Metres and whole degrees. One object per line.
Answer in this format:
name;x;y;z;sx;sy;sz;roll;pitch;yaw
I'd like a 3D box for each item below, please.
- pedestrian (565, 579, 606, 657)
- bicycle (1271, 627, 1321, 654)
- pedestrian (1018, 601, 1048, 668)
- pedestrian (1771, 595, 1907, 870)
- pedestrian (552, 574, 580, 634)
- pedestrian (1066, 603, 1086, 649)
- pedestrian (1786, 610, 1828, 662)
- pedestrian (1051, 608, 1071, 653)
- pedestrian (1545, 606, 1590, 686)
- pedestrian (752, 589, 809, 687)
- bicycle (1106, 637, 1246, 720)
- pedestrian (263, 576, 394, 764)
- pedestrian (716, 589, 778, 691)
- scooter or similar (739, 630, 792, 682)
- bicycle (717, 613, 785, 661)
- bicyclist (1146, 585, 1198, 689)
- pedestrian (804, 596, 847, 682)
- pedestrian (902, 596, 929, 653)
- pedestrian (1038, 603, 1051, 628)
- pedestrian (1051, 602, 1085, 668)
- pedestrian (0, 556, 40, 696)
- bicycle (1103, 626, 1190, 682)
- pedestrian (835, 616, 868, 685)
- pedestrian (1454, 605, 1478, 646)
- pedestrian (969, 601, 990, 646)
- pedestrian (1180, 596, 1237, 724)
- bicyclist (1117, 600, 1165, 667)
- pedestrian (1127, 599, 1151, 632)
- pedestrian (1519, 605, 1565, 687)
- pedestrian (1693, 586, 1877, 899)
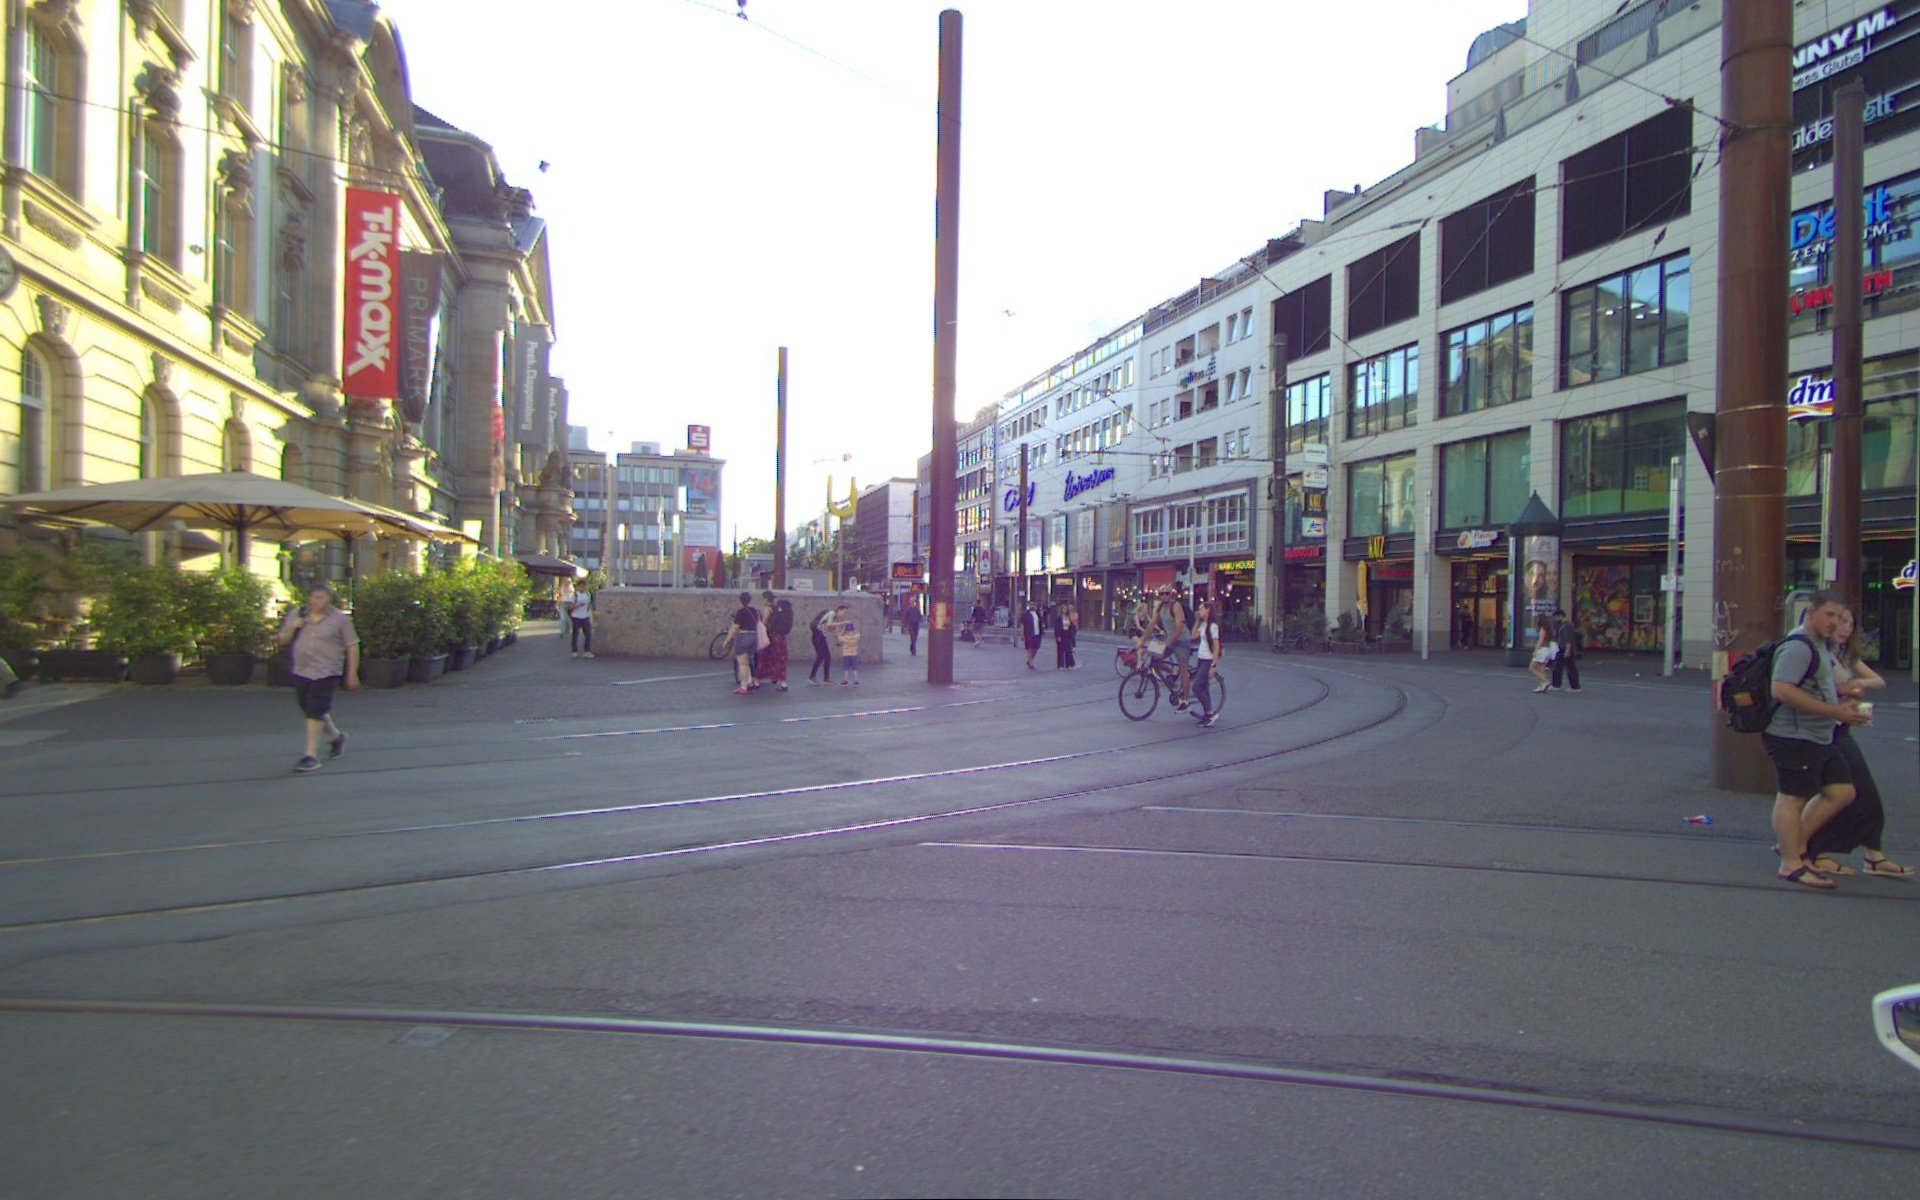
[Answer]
pedestrian;-8.426;0.400;22.611;0.713;1.728;0.494;1;1;-36
bicycle;13.654;1.655;40.903;1.888;0.999;0.451;2;1;18
pedestrian;1.869;0.884;25.687;0.639;1.696;0.529;1;0;-11
pedestrian;5.468;0.781;6.255;0.445;1.614;0.564;1;0;-40
pedestrian;-11.478;0.121;29.245;0.710;1.728;0.496;2;1;-24
pedestrian;4.281;0.955;37.050;0.574;1.658;0.685;1;-1;17
pedestrian;25.765;1.089;30.559;0.776;1.547;0.574;1;1;-6
pedestrian;3.785;1.146;37.634;0.574;1.658;0.685;1;-1;17
pedestrian;13.081;0.979;21.620;0.640;1.696;0.528;1;0;-17
pedestrian;-3.085;0.639;17.257;0.662;1.636;0.762;1;0;-43
bicycle;3.105;1.101;14.388;1.995;1.113;0.571;1;1;-25
pedestrian;-5.831;0.622;9.325;0.790;1.650;0.832;1;0;-14
pedestrian;-3.542;0.651;16.682;0.688;1.636;0.813;1;0;-43
scooter or similar;-3.658;1.039;18.800;0.876;0.916;1.093;1;0;-16
bicycle;-5.017;0.895;24.156;1.554;1.100;0.449;1;1;-16
bicyclist;3.019;0.516;14.332;0.556;1.446;0.419;1;1;-25
pedestrian;-2.541;0.724;18.946;0.644;1.594;0.476;1;0;-34
pedestrian;-1.355;0.726;30.395;0.640;1.696;0.714;1;0;-17
pedestrian;5.604;1.006;66.461;0.674;1.658;0.583;1;-1;-17
pedestrian;2.799;0.905;26.091;0.741;1.696;0.529;1;0;-11
pedestrian;-11.841;0.298;12.068;0.957;1.650;0.688;1;0;-19
bicycle;4.247;1.212;23.014;0.696;1.130;1.894;1;1;-43
pedestrian;-2.021;0.929;18.663;0.479;1.259;0.409;1;0;-30
pedestrian;21.762;1.093;43.241;0.565;1.702;0.673;1;1;-17
pedestrian;0.731;0.898;38.244;0.640;1.696;0.528;1;0;-17
pedestrian;3.355;0.795;13.592;0.520;1.696;0.649;1;0;-9
bicyclist;4.166;0.754;23.124;0.595;1.485;0.862;1;1;-43
pedestrian;9.266;0.793;52.095;0.886;1.658;0.950;1;-1;-15
pedestrian;12.240;0.961;21.133;0.640;1.696;0.528;1;0;-17
pedestrian;4.929;0.789;6.010;0.605;1.723;0.737;1;0;-40
